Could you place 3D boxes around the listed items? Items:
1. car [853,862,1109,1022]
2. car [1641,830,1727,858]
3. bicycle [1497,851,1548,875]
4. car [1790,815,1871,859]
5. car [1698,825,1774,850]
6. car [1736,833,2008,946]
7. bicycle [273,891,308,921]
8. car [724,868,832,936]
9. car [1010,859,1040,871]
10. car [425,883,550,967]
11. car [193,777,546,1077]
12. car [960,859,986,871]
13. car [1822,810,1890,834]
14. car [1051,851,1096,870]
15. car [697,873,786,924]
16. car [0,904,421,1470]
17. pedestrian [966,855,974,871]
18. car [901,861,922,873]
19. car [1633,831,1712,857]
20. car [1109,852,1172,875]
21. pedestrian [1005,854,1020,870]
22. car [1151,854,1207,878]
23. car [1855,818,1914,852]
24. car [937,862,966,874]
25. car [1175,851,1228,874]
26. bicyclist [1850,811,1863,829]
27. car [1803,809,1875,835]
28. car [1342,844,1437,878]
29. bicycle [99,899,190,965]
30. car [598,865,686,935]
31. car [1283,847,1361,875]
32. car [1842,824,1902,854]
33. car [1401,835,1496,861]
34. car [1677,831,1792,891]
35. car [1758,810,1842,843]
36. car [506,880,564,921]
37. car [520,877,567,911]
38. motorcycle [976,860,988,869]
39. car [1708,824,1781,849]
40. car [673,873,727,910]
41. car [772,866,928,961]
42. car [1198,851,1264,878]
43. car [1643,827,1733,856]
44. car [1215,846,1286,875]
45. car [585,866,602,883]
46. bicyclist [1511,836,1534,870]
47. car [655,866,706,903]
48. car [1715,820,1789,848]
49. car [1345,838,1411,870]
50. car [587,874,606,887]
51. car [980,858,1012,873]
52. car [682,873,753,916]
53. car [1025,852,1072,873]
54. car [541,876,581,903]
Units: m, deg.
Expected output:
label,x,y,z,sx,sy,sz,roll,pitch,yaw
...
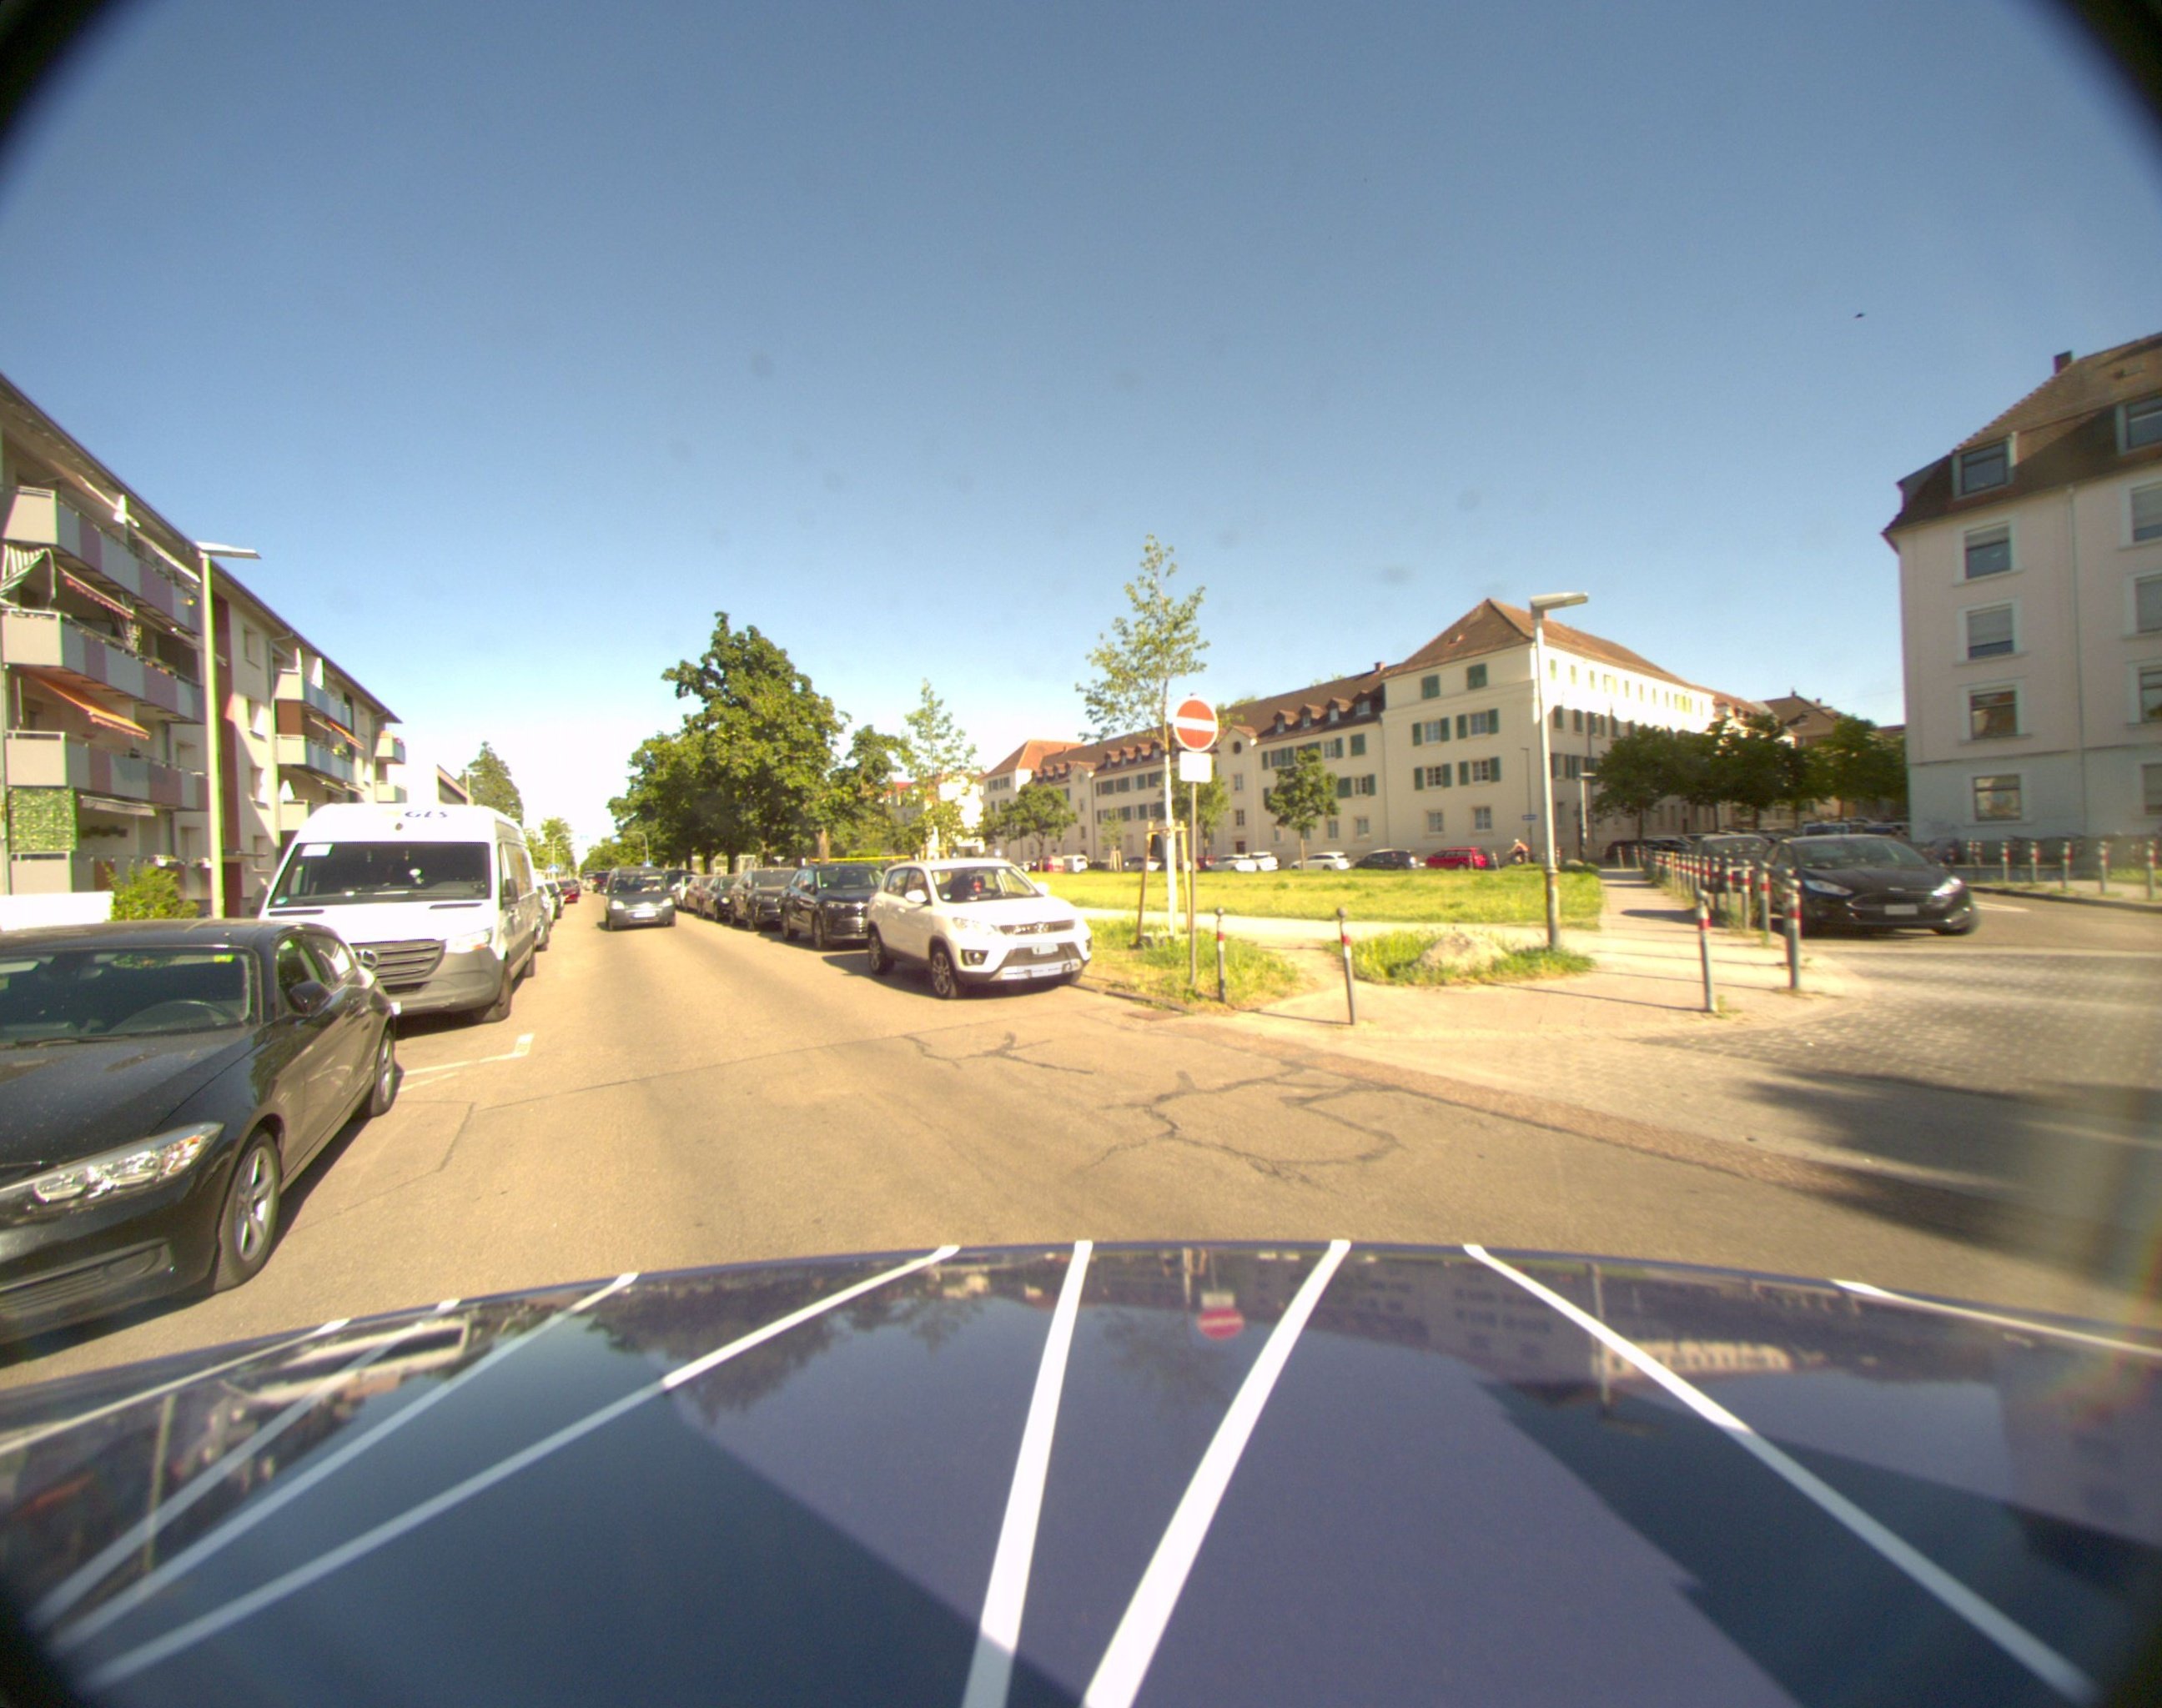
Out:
label,x,y,z,sx,sy,sz,roll,pitch,yaw
car,-1.570,0.961,10.195,1.765,1.637,4.277,-1,-1,-32
car,35.924,-0.571,45.324,1.716,1.512,3.658,-3,0,-34
bicycle,24.078,0.487,41.473,0.846,1.255,2.252,-3,1,-34
car,37.172,-0.854,37.636,4.584,2.002,2.135,-3,1,-36
car,45.214,-1.119,52.485,1.863,1.512,3.606,-3,0,-37
car,11.895,0.453,11.825,1.916,1.401,4.356,-4,-1,33
bicycle,-31.104,2.023,29.911,0.526,1.064,2.005,0,-1,-34
car,-8.391,1.209,20.759,1.829,1.600,4.727,-1,-1,-33
car,-6.751,1.300,91.650,1.777,1.348,3.990,-2,0,-34
car,-13.095,1.464,16.998,1.858,1.457,4.191,-4,1,-35
car,-8.836,0.714,10.296,2.153,2.697,6.825,-1,-1,-32
car,-12.871,1.282,90.467,1.658,1.325,3.506,-2,0,-34
car,83.875,-3.432,82.265,1.960,2.381,4.943,-3,0,-37
car,-0.904,0.710,82.922,2.231,1.973,5.244,-3,0,-35
car,-11.207,1.377,24.912,1.883,1.510,4.459,0,-1,-34
car,-4.912,1.104,3.733,1.968,1.473,4.488,-1,-1,-34
pedestrian,-11.745,0.939,80.218,0.546,1.675,0.672,-3,1,-28
car,-27.422,2.061,122.728,1.959,1.783,3.991,-3,0,-32
car,37.472,-0.605,48.163,1.711,1.512,3.606,-3,0,-37
car,4.954,0.816,64.252,2.462,1.810,5.440,-3,0,-32
pedestrian,-8.783,1.057,97.178,1.346,1.952,1.160,-3,1,-39
car,7.735,0.977,60.037,2.328,1.740,3.999,-3,0,-32
car,49.764,-1.192,47.031,5.062,1.962,1.995,-3,1,-38
car,-17.239,1.898,101.024,2.003,1.476,4.946,-2,0,-34
car,10.427,0.759,66.087,2.274,1.894,4.157,-3,0,-35
bicyclist,59.112,-2.573,57.900,0.787,1.356,0.532,-3,1,-37
car,77.461,-3.260,77.688,1.960,2.381,4.943,-3,0,-37
car,17.966,0.436,44.429,2.168,1.810,4.693,-3,0,-35
bicycle,-19.909,1.623,16.202,0.598,1.169,2.008,-3,2,-34
car,-12.965,1.283,22.320,1.907,1.779,4.147,-3,0,-34
car,17.492,0.529,55.342,2.164,1.875,5.146,-3,0,-33
car,45.811,-0.872,43.986,3.889,1.560,1.933,-3,0,-37
car,22.728,-0.327,47.189,2.003,1.476,4.946,-2,0,-34
car,18.905,0.169,22.190,1.924,1.567,4.356,-2,0,33
car,61.710,-2.337,65.253,1.960,2.504,4.943,-3,0,-37
car,-21.474,1.781,29.984,1.708,1.427,4.460,-1,-1,-35
car,-26.251,1.920,37.089,1.756,1.490,3.851,-2,0,-36
motorcycle,-14.072,1.529,108.205,0.819,1.297,2.140,-3,0,-35
car,47.319,-1.247,54.214,1.835,1.631,3.606,-3,0,-37
car,-16.537,1.591,32.885,1.594,1.483,3.676,-1,-1,-35
car,-4.944,1.101,15.756,1.852,1.628,4.703,-1,-1,-33
car,10.855,0.750,55.306,2.247,1.810,4.247,-3,0,-35
car,39.373,-0.799,49.349,1.709,1.691,4.232,-3,0,-36
car,13.656,0.551,61.467,2.543,2.203,5.245,-3,0,-35
car,-78.628,3.325,122.675,2.079,2.583,6.188,-3,0,-32
bicyclist,24.078,-0.045,41.432,0.676,1.792,0.799,-3,1,-34
car,-21.294,1.558,40.271,1.873,1.774,4.979,-2,1,-33
car,49.178,-1.439,55.729,1.960,1.824,3.703,-3,0,-37
car,20.043,0.011,51.361,1.673,2.002,3.887,-2,1,-34
car,-55.382,3.032,86.925,1.656,1.324,4.923,-3,0,-32
car,-9.668,1.273,86.190,1.797,1.574,4.225,-3,0,-34
car,-14.046,1.505,29.217,1.764,1.483,4.656,-1,-1,-35
car,-3.349,0.859,76.887,2.231,1.973,5.245,-3,0,-33
car,-31.801,2.150,46.528,1.852,1.464,5.053,-3,0,-34
